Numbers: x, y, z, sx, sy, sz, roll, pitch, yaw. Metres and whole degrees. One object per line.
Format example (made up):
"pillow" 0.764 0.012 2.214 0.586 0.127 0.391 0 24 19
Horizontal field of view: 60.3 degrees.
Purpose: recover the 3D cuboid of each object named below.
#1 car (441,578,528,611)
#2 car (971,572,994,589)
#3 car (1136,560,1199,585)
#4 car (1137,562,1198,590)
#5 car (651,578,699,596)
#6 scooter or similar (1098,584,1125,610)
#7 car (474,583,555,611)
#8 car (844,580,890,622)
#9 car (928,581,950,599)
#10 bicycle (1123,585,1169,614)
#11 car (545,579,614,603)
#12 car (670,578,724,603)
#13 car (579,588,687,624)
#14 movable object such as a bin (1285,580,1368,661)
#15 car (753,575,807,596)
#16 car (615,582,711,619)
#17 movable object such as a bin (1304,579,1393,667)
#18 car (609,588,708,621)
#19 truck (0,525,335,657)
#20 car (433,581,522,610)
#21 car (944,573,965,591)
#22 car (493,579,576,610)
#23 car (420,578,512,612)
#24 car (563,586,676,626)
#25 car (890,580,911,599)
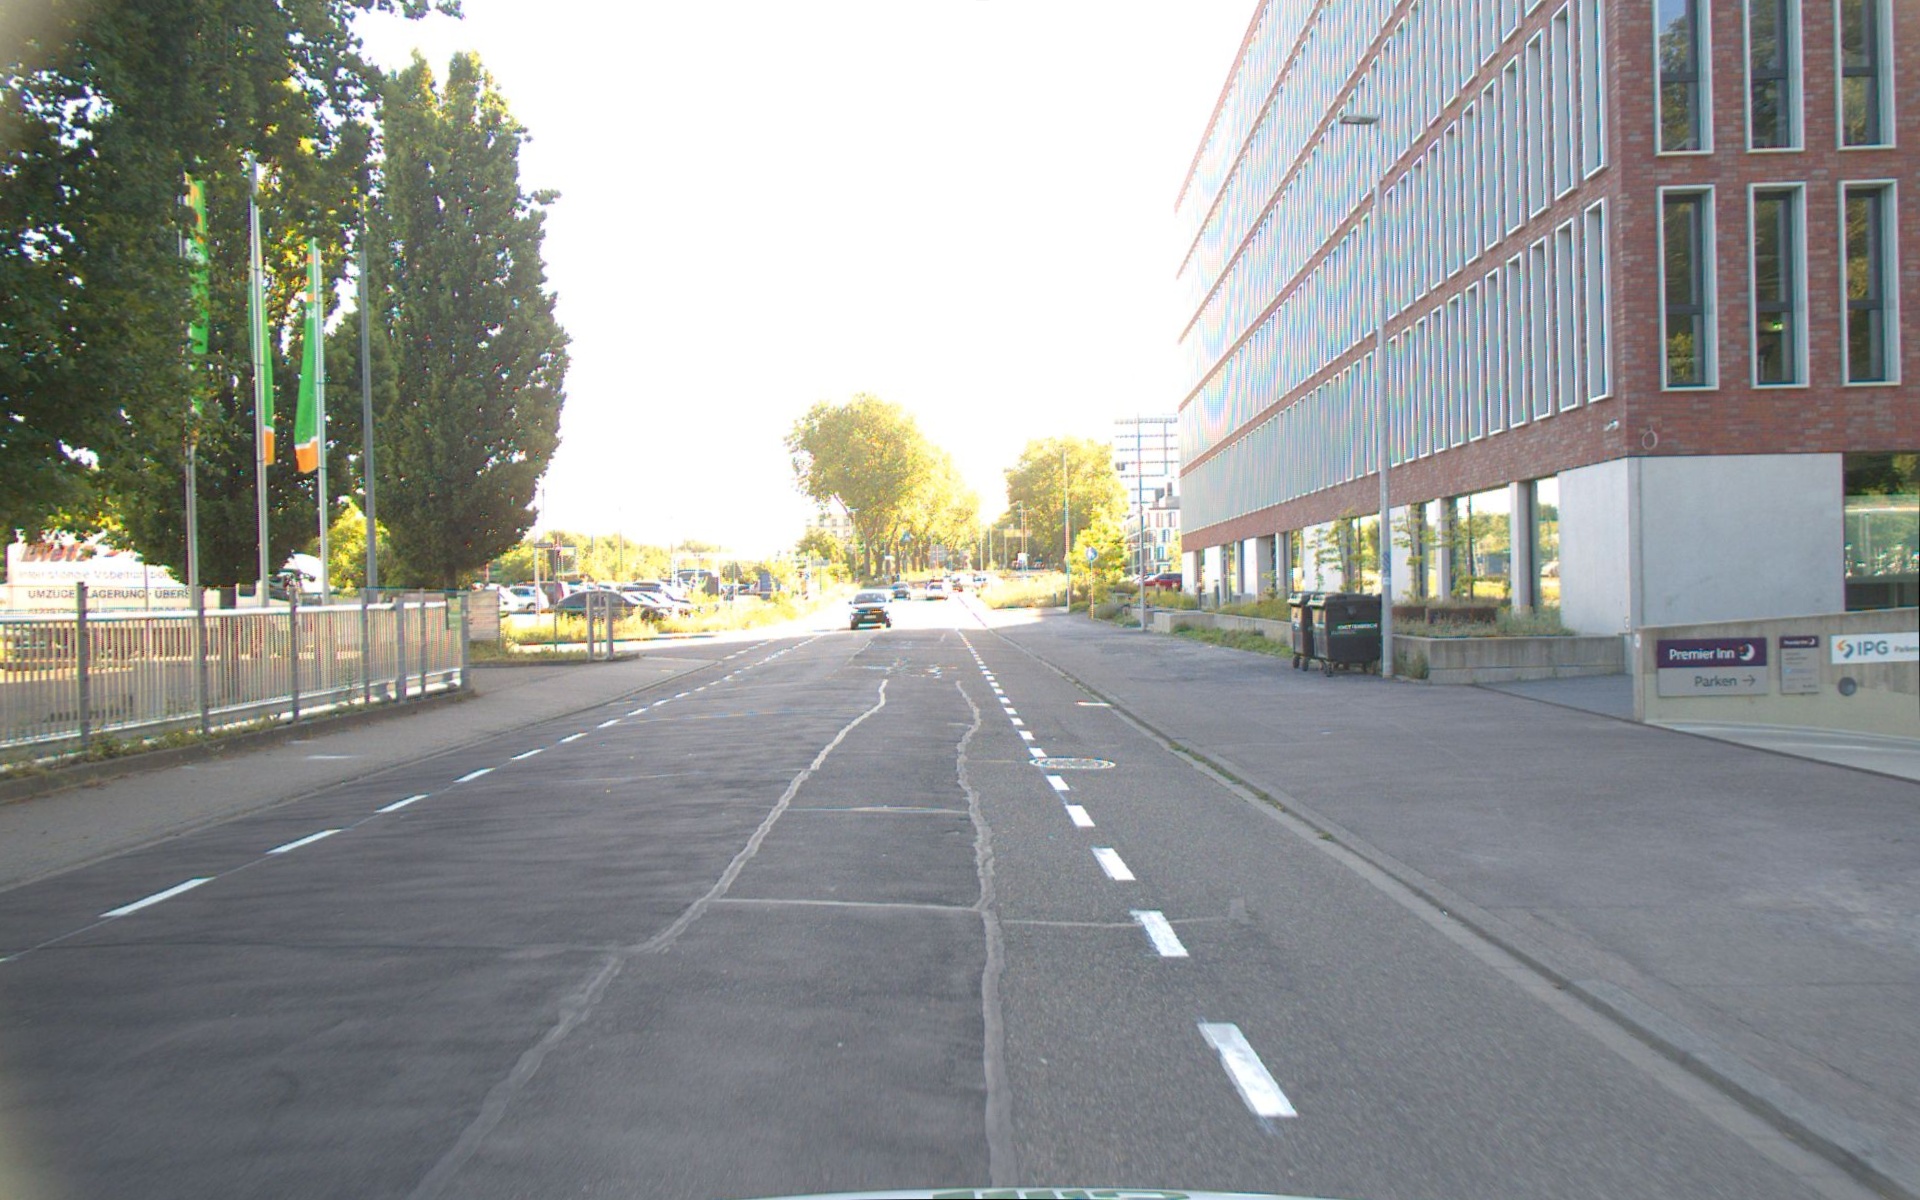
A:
"car" -25.292 -0.297 88.082 4.078 1.691 1.965 -1 1 -4
"car" 2.375 -2.034 173.190 2.118 1.713 4.002 -1 1 4
"car" 13.902 -1.836 110.900 4.097 1.608 1.852 0 1 2
"car" 14.761 -1.699 117.797 4.097 1.608 1.851 -1 -6 2
"car" -26.842 -1.270 155.763 4.234 1.646 1.878 0 1 -2
"scooter or similar" 7.493 -0.153 81.701 1.312 1.267 0.424 -1 0 3
"car" -26.298 -0.196 97.765 4.278 1.572 1.857 0 1 0
"car" -3.903 0.013 70.254 1.706 1.552 4.110 -5 1 -1
"car" -1.756 -0.886 138.861 1.753 1.445 4.000 -1 1 0
"bicycle" 7.871 -0.039 70.049 1.895 1.190 0.375 -1 0 -7
"car" -26.083 -0.620 113.458 4.233 1.550 1.878 0 1 0
"car" -26.391 -0.957 166.074 4.993 2.502 2.319 0 1 -2
"car" -14.401 0.244 72.993 4.337 1.487 2.049 -1 1 0
"movable object such as a bin" 6.410 0.337 29.033 1.106 1.359 1.345 -1 1 -2
"car" -16.296 -1.352 150.119 4.747 1.866 2.000 0 1 -2
"car" -14.648 0.013 81.792 4.337 1.699 2.049 -1 1 0
"movable object such as a bin" 6.439 0.370 27.477 1.106 1.395 1.345 -1 1 -2
"car" -14.337 0.216 78.825 4.337 1.487 2.049 -1 1 0
"truck" -23.510 -0.251 47.648 9.895 3.678 2.775 0 0 -2
"car" -24.978 -0.263 85.779 4.079 1.421 2.047 -1 1 -5
"car" -0.548 -1.817 167.848 2.119 1.713 4.000 -1 1 0
"car" -25.738 -0.347 100.156 4.482 1.836 1.857 0 1 0
"car" -24.853 -0.267 83.337 4.079 1.606 2.047 -1 1 -5
"car" -14.381 0.239 70.088 4.337 1.608 2.049 -1 1 0
"car" -5.088 -0.891 141.487 1.620 1.529 3.999 -2 0 -1
